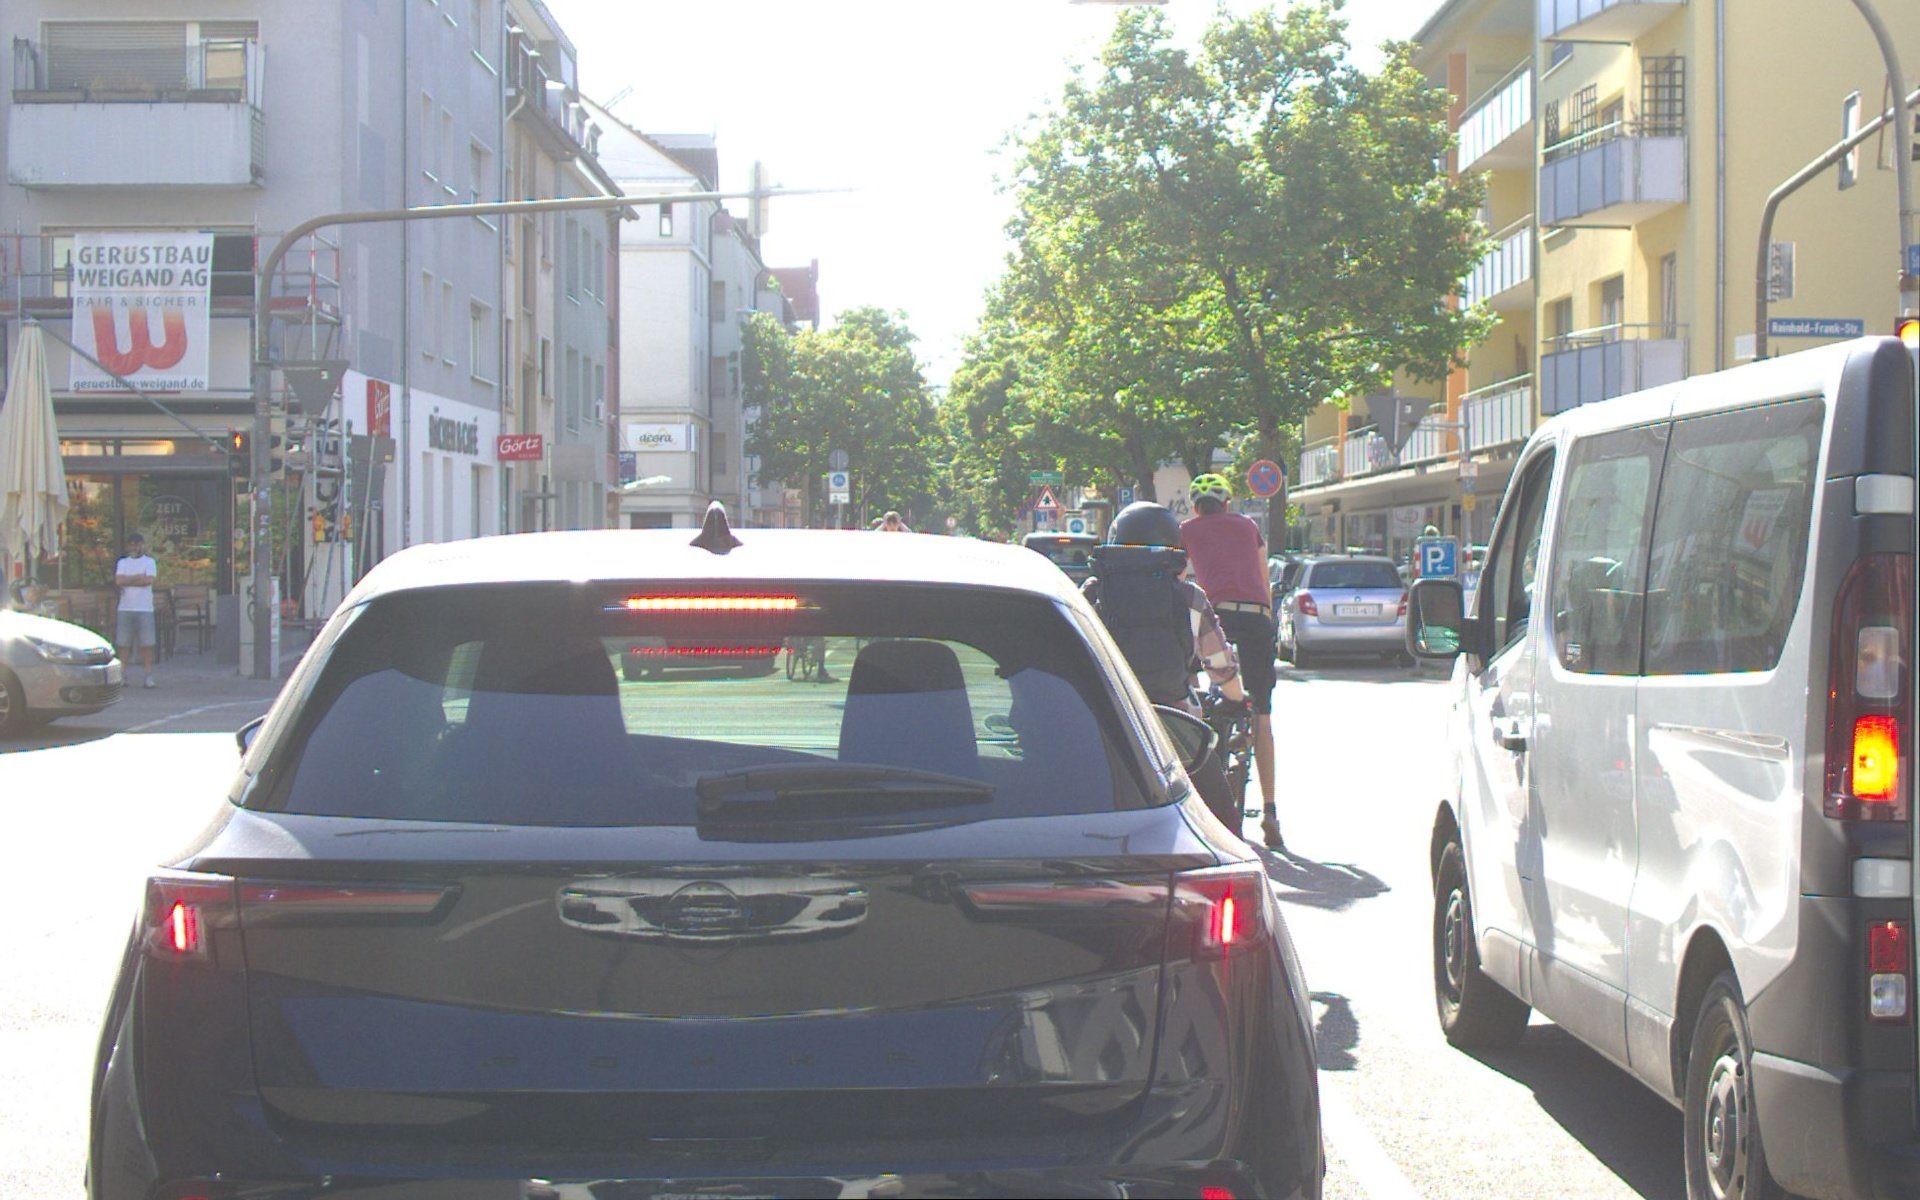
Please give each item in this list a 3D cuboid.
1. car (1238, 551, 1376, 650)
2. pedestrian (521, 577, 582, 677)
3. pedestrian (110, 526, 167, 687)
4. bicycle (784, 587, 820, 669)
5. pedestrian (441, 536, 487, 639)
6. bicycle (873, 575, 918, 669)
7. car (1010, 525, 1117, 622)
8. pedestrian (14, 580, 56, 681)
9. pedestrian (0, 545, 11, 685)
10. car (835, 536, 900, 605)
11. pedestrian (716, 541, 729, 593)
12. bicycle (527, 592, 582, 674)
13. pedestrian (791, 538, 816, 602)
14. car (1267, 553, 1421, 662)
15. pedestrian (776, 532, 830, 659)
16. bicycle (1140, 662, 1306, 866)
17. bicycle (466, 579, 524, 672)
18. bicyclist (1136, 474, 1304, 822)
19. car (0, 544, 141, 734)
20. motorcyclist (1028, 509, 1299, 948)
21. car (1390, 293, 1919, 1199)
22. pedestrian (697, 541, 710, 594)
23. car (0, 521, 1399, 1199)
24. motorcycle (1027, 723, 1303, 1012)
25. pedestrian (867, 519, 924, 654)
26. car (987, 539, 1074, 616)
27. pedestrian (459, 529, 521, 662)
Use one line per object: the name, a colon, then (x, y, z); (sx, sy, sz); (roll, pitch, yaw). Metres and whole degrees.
car: (5.203, -0.019, 51.979); (1.634, 1.428, 4.000); (0, 1, -1)
pedestrian: (-5.167, 0.339, 43.493); (0.706, 1.249, 0.802); (0, 1, -2)
pedestrian: (-9.101, 0.062, 38.089); (0.561, 1.769, 0.584); (0, 1, -9)
bicycle: (-2.005, 0.340, 43.707); (0.443, 0.989, 2.069); (0, 1, -2)
pedestrian: (-7.349, -0.194, 50.979); (0.617, 1.516, 0.725); (0, 1, -3)
bicycle: (-0.833, 0.269, 43.841); (0.521, 1.143, 2.170); (0, 1, -2)
car: (1.876, -0.513, 63.371); (1.902, 1.722, 4.073); (0, 1, 1)
pedestrian: (-10.063, 0.328, 37.411); (0.355, 1.088, 0.462); (0, 1, -3)
pedestrian: (-10.712, 0.164, 37.458); (0.584, 1.516, 0.650); (0, 1, -3)
car: (-2.689, -0.884, 100.832); (1.855, 2.007, 3.881); (0, 1, -1)
pedestrian: (-7.533, -1.053, 109.119); (0.402, 1.669, 0.418); (0, 1, -1)
bicycle: (-5.175, 0.409, 43.956); (0.521, 0.989, 2.340); (0, 1, -2)
pedestrian: (-4.141, -0.796, 90.896); (0.570, 1.684, 0.588); (1, 1, 6)
car: (5.239, 0.070, 47.300); (1.634, 1.428, 3.957); (0, 1, -1)
pedestrian: (-1.994, -0.058, 43.765); (0.680, 1.600, 0.762); (0, 1, -2)
bicycle: (1.324, 0.807, 17.665); (0.577, 0.901, 2.301); (0, 1, -2)
bicycle: (-5.934, 0.311, 43.951); (0.521, 1.143, 2.284); (0, 1, -2)
bicyclist: (1.310, 0.224, 17.548); (0.689, 1.707, 1.414); (0, 1, -2)
car: (-8.871, 0.320, 27.929); (3.987, 1.481, 1.833); (-1, 1, 0)
motorcyclist: (0.706, 0.431, 12.297); (0.864, 1.497, 1.160); (0, 1, -2)
car: (2.430, 0.434, 8.438); (1.993, 1.972, 4.896); (1, 1, -1)
pedestrian: (-8.177, -1.044, 109.499); (0.402, 1.669, 0.418); (0, 1, -1)
car: (-0.416, 0.632, 6.314); (1.770, 1.525, 4.001); (0, 1, -2)
motorcycle: (0.687, 0.905, 12.138); (0.825, 0.842, 1.885); (0, 1, -1)
pedestrian: (-0.823, -0.177, 43.611); (0.706, 1.695, 0.802); (0, 1, -2)
car: (1.586, -0.534, 78.722); (1.902, 1.722, 4.000); (0, 1, 0)
pedestrian: (-5.981, -0.062, 43.757); (0.706, 1.672, 0.802); (0, 1, -2)
